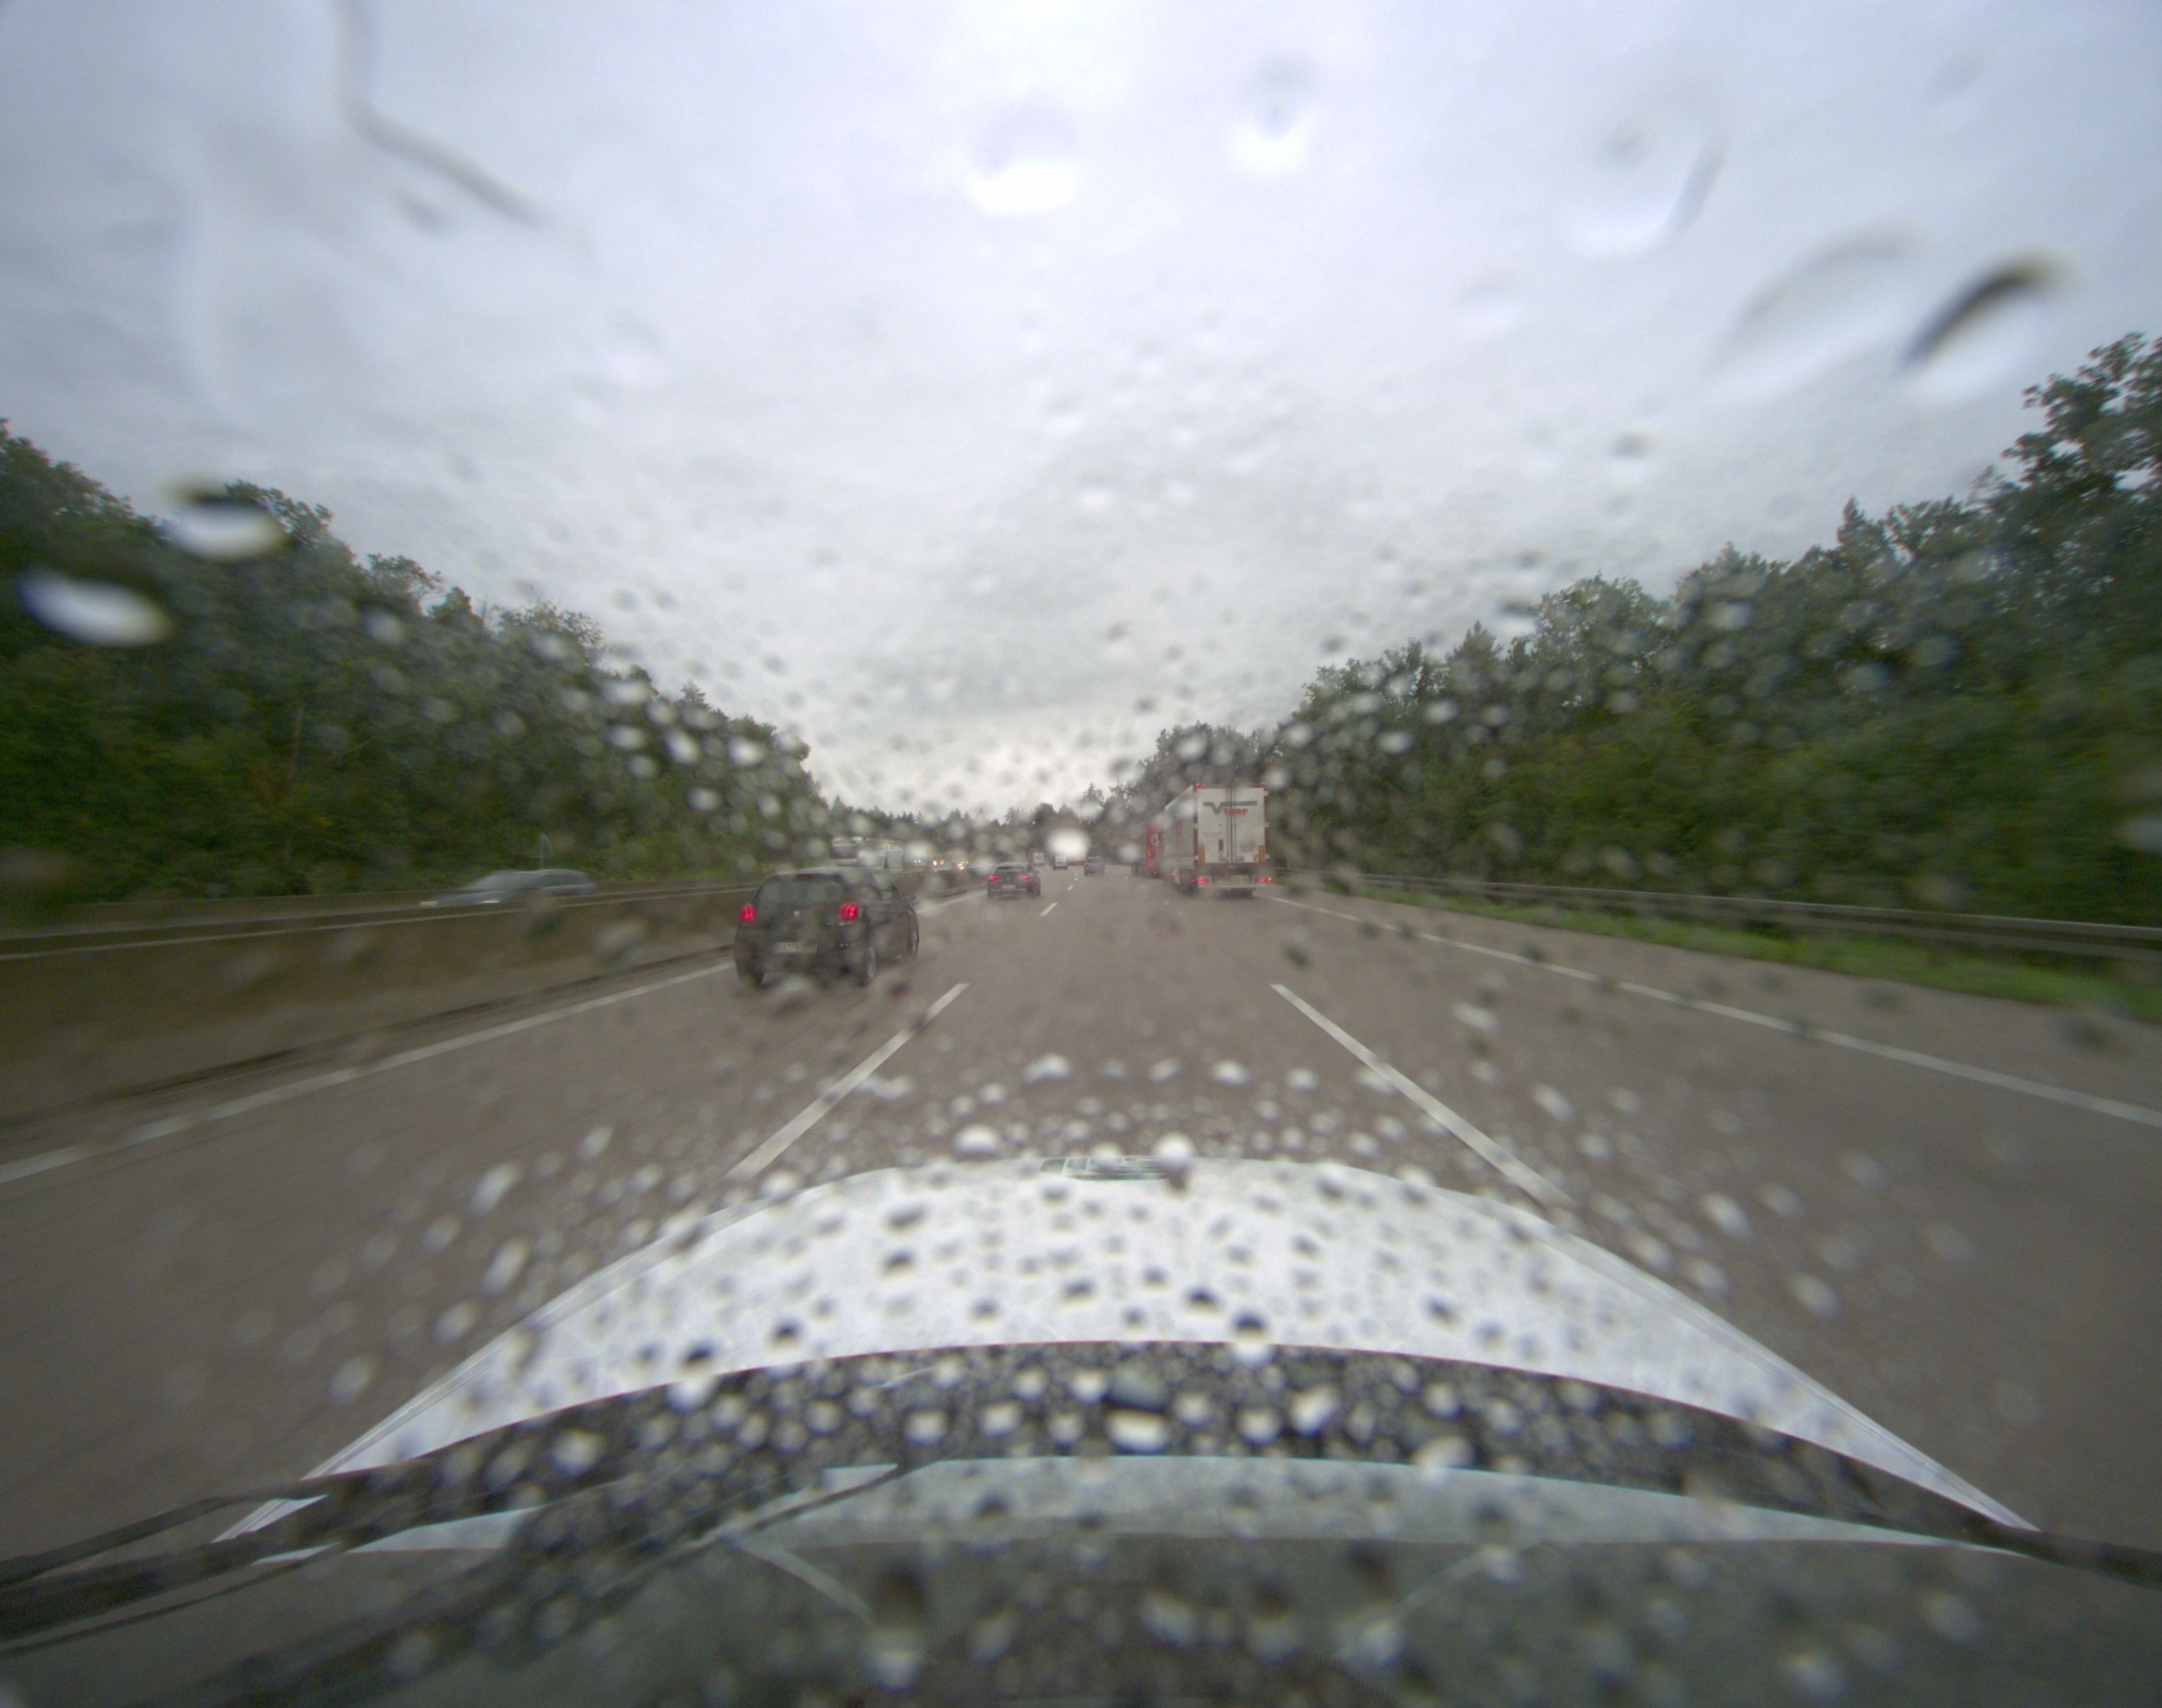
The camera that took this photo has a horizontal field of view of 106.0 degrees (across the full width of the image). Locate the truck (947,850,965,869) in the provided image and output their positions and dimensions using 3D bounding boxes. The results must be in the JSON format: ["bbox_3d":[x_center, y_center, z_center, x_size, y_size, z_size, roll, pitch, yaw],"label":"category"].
[{"bbox_3d":[-26.627,1.184,173.828,3.020,3.875,8.104,-1,0,-4],"label":"truck"}]

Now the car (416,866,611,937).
[{"bbox_3d":[-14.187,1.101,20.747,1.602,1.554,4.644,-1,0,2],"label":"car"}]

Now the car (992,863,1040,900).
[{"bbox_3d":[-2.549,1.062,32.622,1.548,1.351,3.684,0,0,1],"label":"car"}]

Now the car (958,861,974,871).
[{"bbox_3d":[-16.623,1.762,117.610,1.797,1.333,4.561,-1,0,-1],"label":"car"}]

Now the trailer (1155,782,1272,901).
[{"bbox_3d":[5.253,-0.414,35.317,2.725,4.103,13.680,-2,0,0],"label":"trailer"}]

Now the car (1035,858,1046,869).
[{"bbox_3d":[-7.848,1.887,158.457,1.988,2.059,3.997,-2,0,-2],"label":"car"}]

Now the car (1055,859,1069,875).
[{"bbox_3d":[-2.657,1.755,111.946,1.722,2.013,3.651,-2,0,-4],"label":"car"}]

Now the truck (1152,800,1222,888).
[{"bbox_3d":[5.279,-0.485,41.621,2.789,4.104,5.968,-2,0,1],"label":"truck"}]

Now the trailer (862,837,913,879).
[{"bbox_3d":[-17.734,0.365,75.164,2.537,3.667,8.231,-1,0,1],"label":"trailer"}]

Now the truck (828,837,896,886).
[{"bbox_3d":[-17.865,0.607,67.107,2.555,3.667,10.492,-1,0,1],"label":"truck"}]

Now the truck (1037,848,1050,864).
[{"bbox_3d":[-10.119,0.414,219.025,3.363,4.131,10.421,-1,0,-4],"label":"truck"}]

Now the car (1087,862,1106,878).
[{"bbox_3d":[1.341,1.385,71.496,1.548,1.351,3.683,0,0,0],"label":"car"}]

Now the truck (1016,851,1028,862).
[{"bbox_3d":[-16.351,0.588,226.340,3.074,2.905,7.898,-1,1,-2],"label":"truck"}]

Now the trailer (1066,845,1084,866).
[{"bbox_3d":[-1.375,0.300,167.634,2.417,4.068,12.028,-1,0,-6],"label":"trailer"}]

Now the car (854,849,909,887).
[{"bbox_3d":[-13.684,0.941,56.337,1.986,2.449,6.747,-1,0,1],"label":"car"}]

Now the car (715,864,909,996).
[{"bbox_3d":[-3.477,0.898,11.215,1.681,1.462,3.677,0,0,-5],"label":"car"}]

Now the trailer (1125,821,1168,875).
[{"bbox_3d":[5.023,-0.404,64.854,2.363,3.954,12.516,0,0,0],"label":"trailer"}]

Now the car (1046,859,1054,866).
[{"bbox_3d":[-7.085,1.910,185.707,1.877,1.473,3.997,0,0,-2],"label":"car"}]
